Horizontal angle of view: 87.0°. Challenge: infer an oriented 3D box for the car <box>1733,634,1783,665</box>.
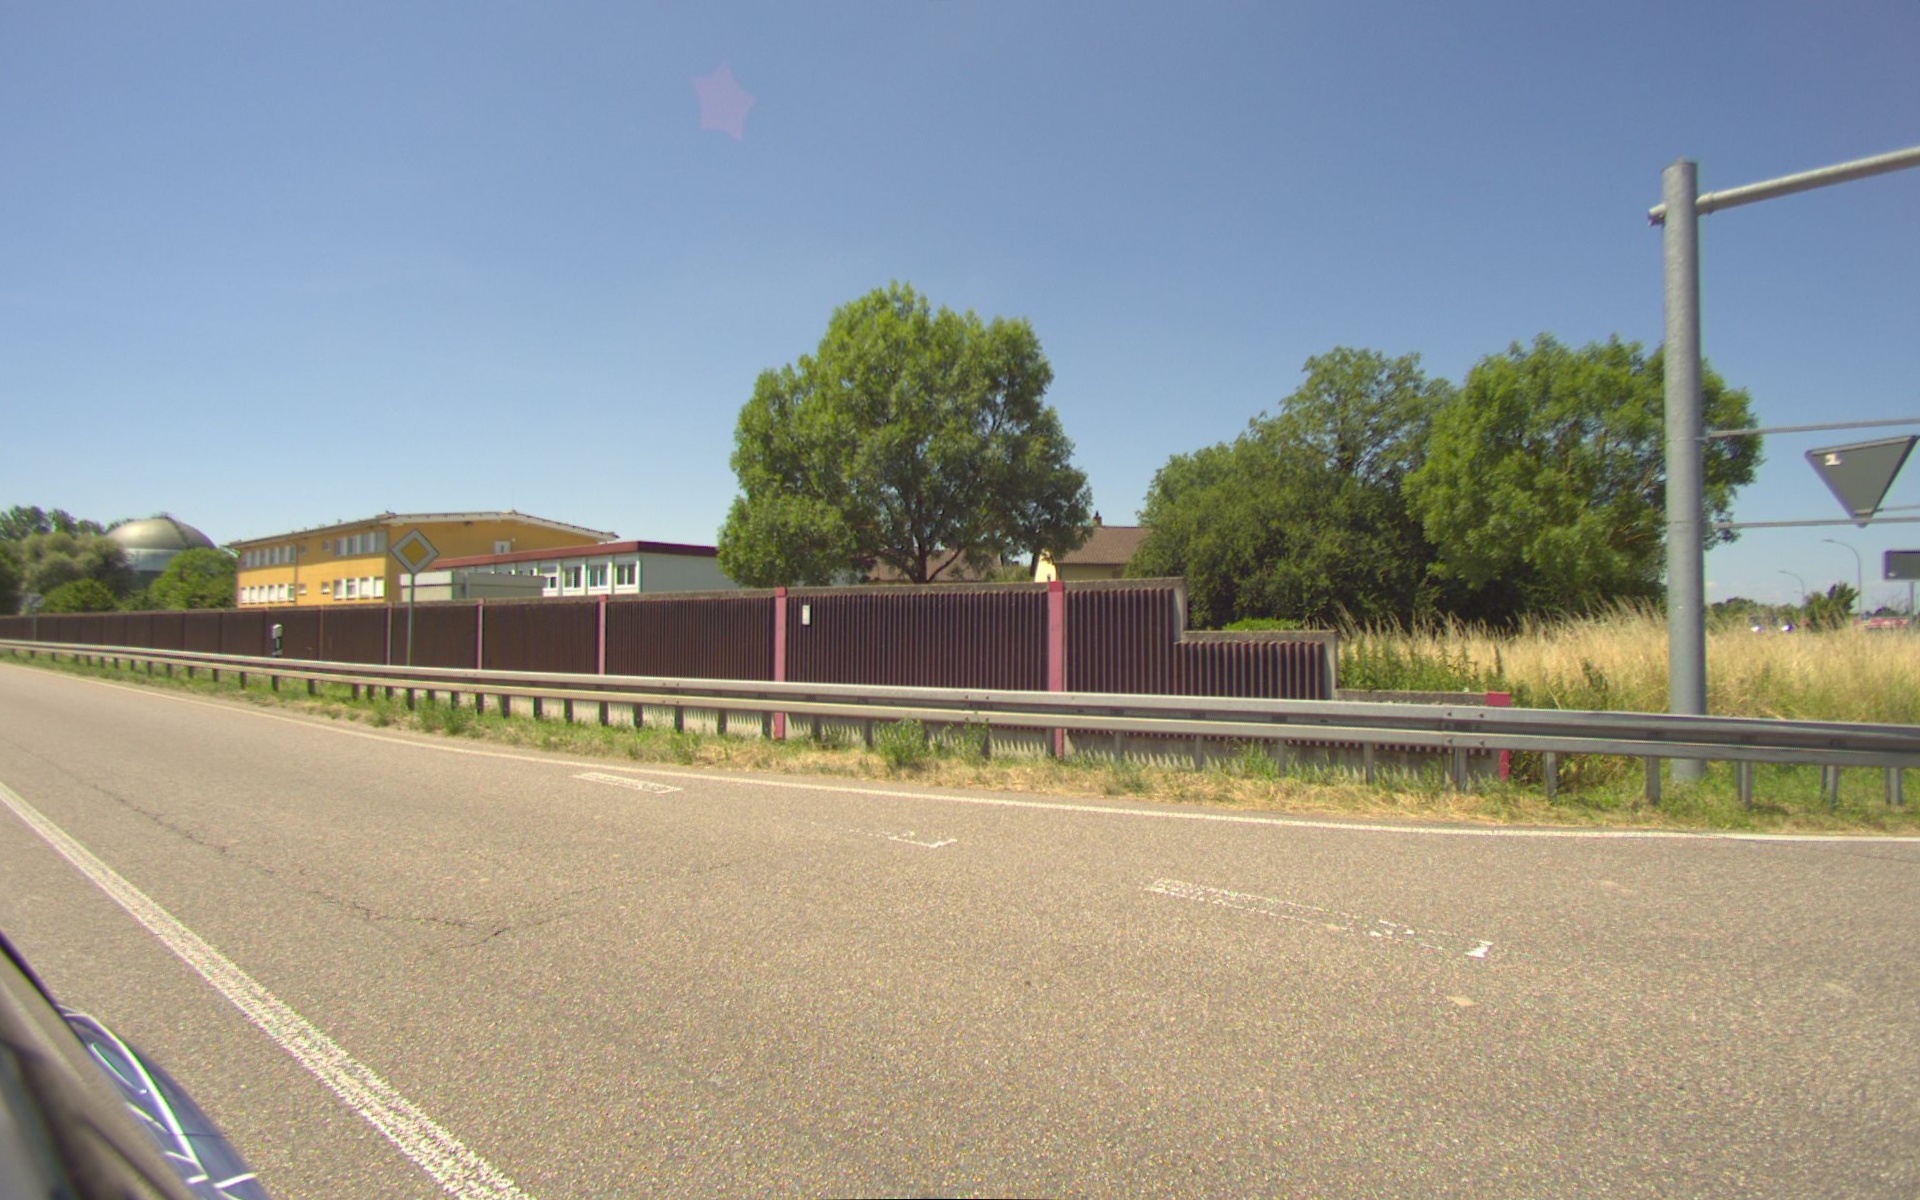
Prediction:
[{"bbox_3d":[45.270,2.776,57.506,1.765,1.637,4.187,-2,-2,32],"label":"car"}]
